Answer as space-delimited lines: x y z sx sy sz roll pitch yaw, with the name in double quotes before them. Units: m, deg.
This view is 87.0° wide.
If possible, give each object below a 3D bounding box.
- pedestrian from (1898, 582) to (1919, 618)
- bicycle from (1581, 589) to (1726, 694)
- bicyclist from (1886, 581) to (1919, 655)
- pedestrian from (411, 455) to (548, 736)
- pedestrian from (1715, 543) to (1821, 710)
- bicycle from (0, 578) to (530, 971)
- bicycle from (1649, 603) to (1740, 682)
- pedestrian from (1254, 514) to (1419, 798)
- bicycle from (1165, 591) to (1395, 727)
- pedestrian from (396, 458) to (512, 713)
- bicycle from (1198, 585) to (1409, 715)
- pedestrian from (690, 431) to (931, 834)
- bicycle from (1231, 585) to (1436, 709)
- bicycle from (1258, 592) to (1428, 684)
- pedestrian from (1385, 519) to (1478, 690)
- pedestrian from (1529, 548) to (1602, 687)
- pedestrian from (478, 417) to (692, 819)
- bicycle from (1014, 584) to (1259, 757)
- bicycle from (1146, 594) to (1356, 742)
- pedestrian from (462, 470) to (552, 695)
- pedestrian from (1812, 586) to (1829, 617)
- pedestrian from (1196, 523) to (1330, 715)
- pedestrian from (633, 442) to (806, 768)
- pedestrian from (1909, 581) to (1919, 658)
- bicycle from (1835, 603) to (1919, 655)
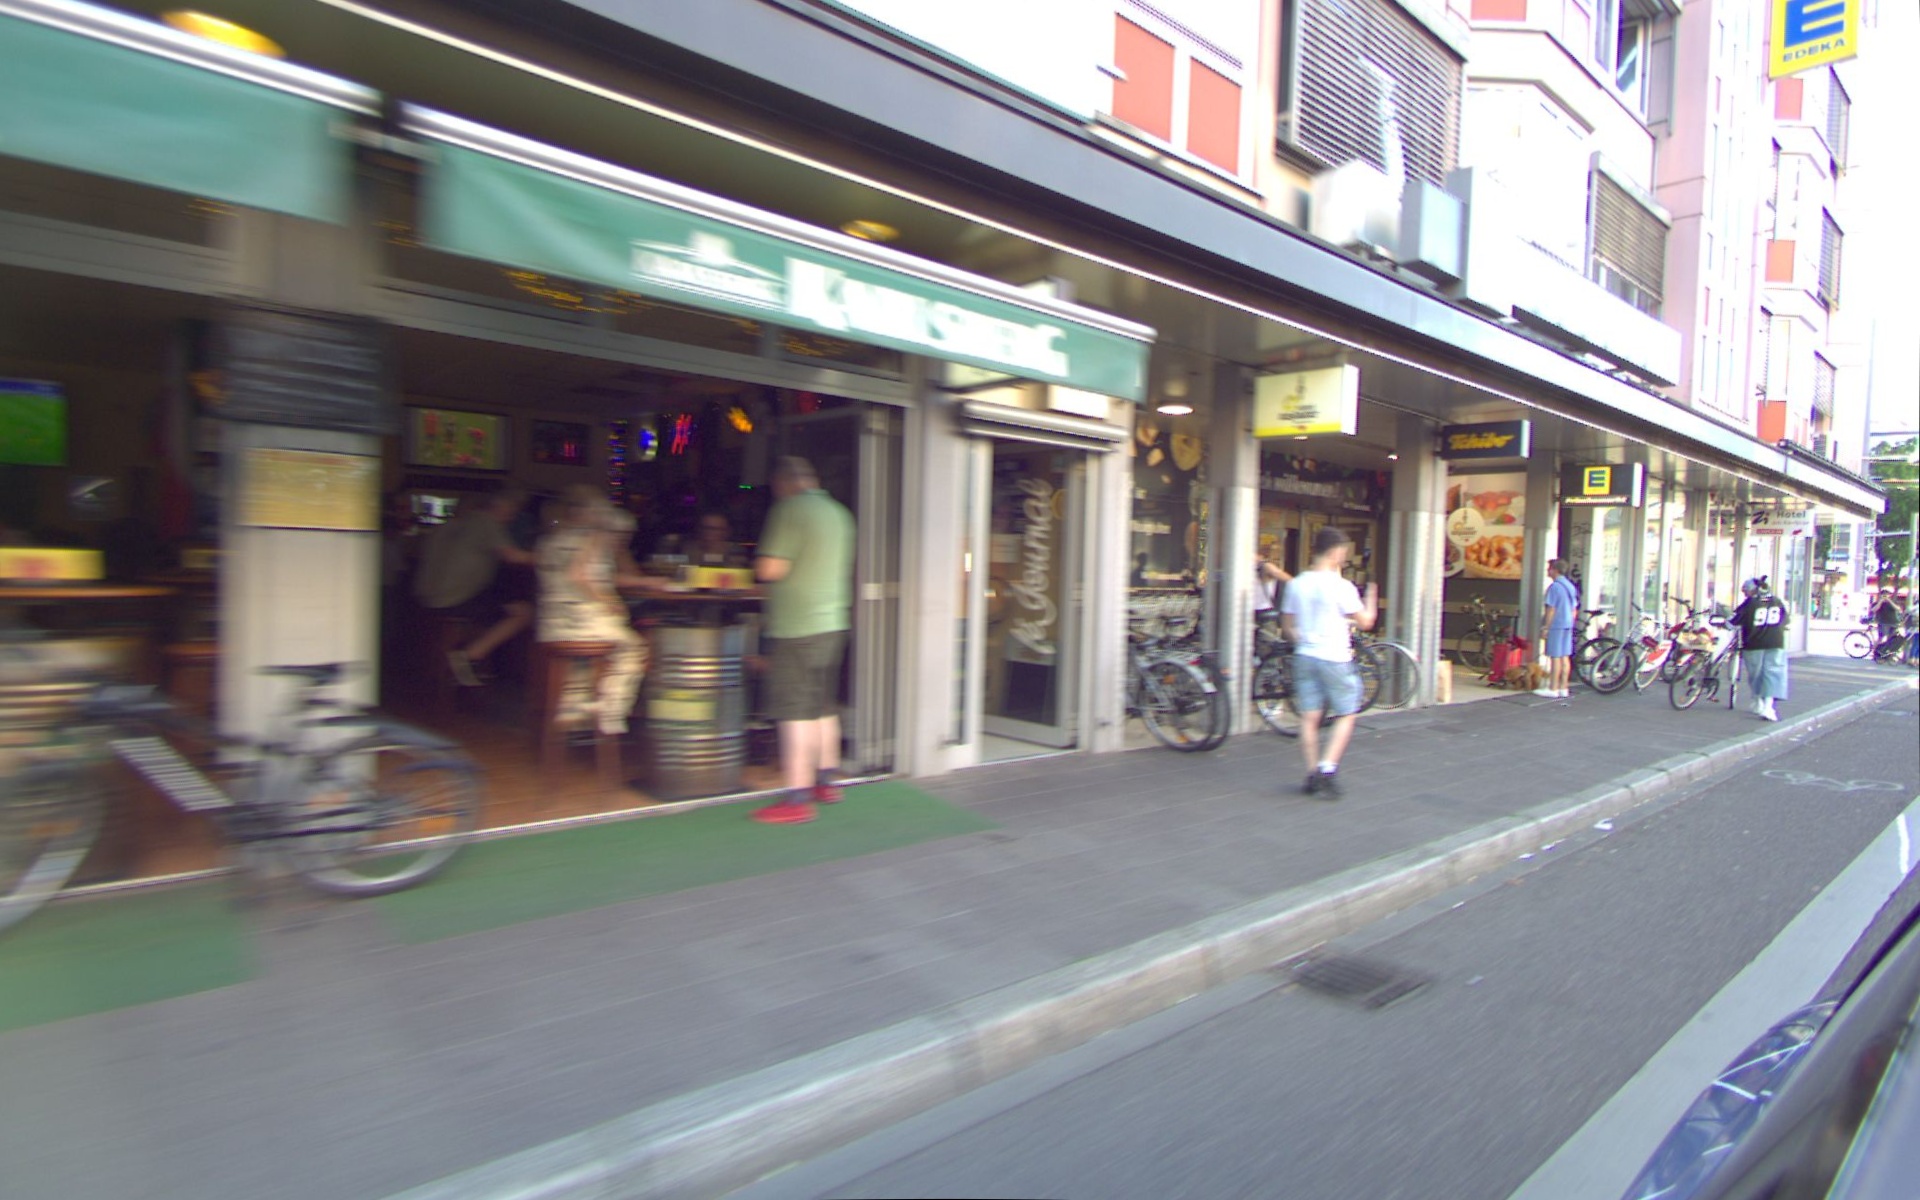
"pedestrian" 54.665 -0.010 58.312 0.743 2.039 1.057 0 0 37
"bicycle" 8.890 0.509 12.970 1.600 1.189 0.804 1 5 -29
"bicyclist" 22.645 0.416 24.214 0.756 1.698 0.636 0 2 -44
"pedestrian" -3.477 -0.057 7.302 0.735 1.889 0.779 0 4 -37
"pedestrian" 9.312 0.273 11.668 0.721 1.838 0.805 0 2 -44
"bicycle" -2.535 0.499 3.534 1.763 1.079 0.659 0 7 -41
"bicycle" 10.875 0.596 14.962 1.812 0.987 0.677 -1 8 -44
"pedestrian" 2.418 0.315 6.506 0.757 1.693 0.634 0 4 -40
"bicycle" 2.975 0.505 9.641 0.646 0.985 2.029 1 5 -37
"pedestrian" -4.015 -0.135 8.013 0.675 1.889 0.779 0 4 -37
"bicycle" 3.400 0.444 10.184 0.567 1.072 1.928 0 4 -42
"pedestrian" -0.804 0.105 5.306 0.766 1.887 0.916 -1 7 -43
"bicycle" 3.868 0.441 10.635 0.567 1.072 1.928 0 4 -42
"bicycle" 4.809 0.438 12.840 0.567 0.949 1.928 0 4 -42
"pedestrian" 5.286 0.033 11.397 0.722 1.838 0.804 2 1 13
"pedestrian" 7.273 0.201 12.167 0.451 1.613 0.409 3 4 -12
"pedestrian" -1.934 0.054 5.231 0.773 1.889 0.680 4 4 30
"bicycle" 1.304 0.473 7.896 0.566 1.072 1.929 0 4 -40
"bicycle" 2.423 0.520 8.640 0.496 0.985 1.738 0 5 -35
"pedestrian" -4.005 -0.167 8.983 0.673 1.889 0.781 1 4 -22
"pedestrian" 41.145 0.052 48.374 0.594 1.461 0.605 0 0 38
"pedestrian" 2.846 0.144 9.517 0.902 1.683 0.778 -1 5 -43
"pedestrian" -1.490 0.001 6.324 0.769 1.889 0.683 3 3 19
"pedestrian" 21.540 0.461 22.360 0.635 1.681 0.758 8 6 40
"bicycle" 22.524 0.690 24.333 0.756 1.137 2.172 0 3 -43
